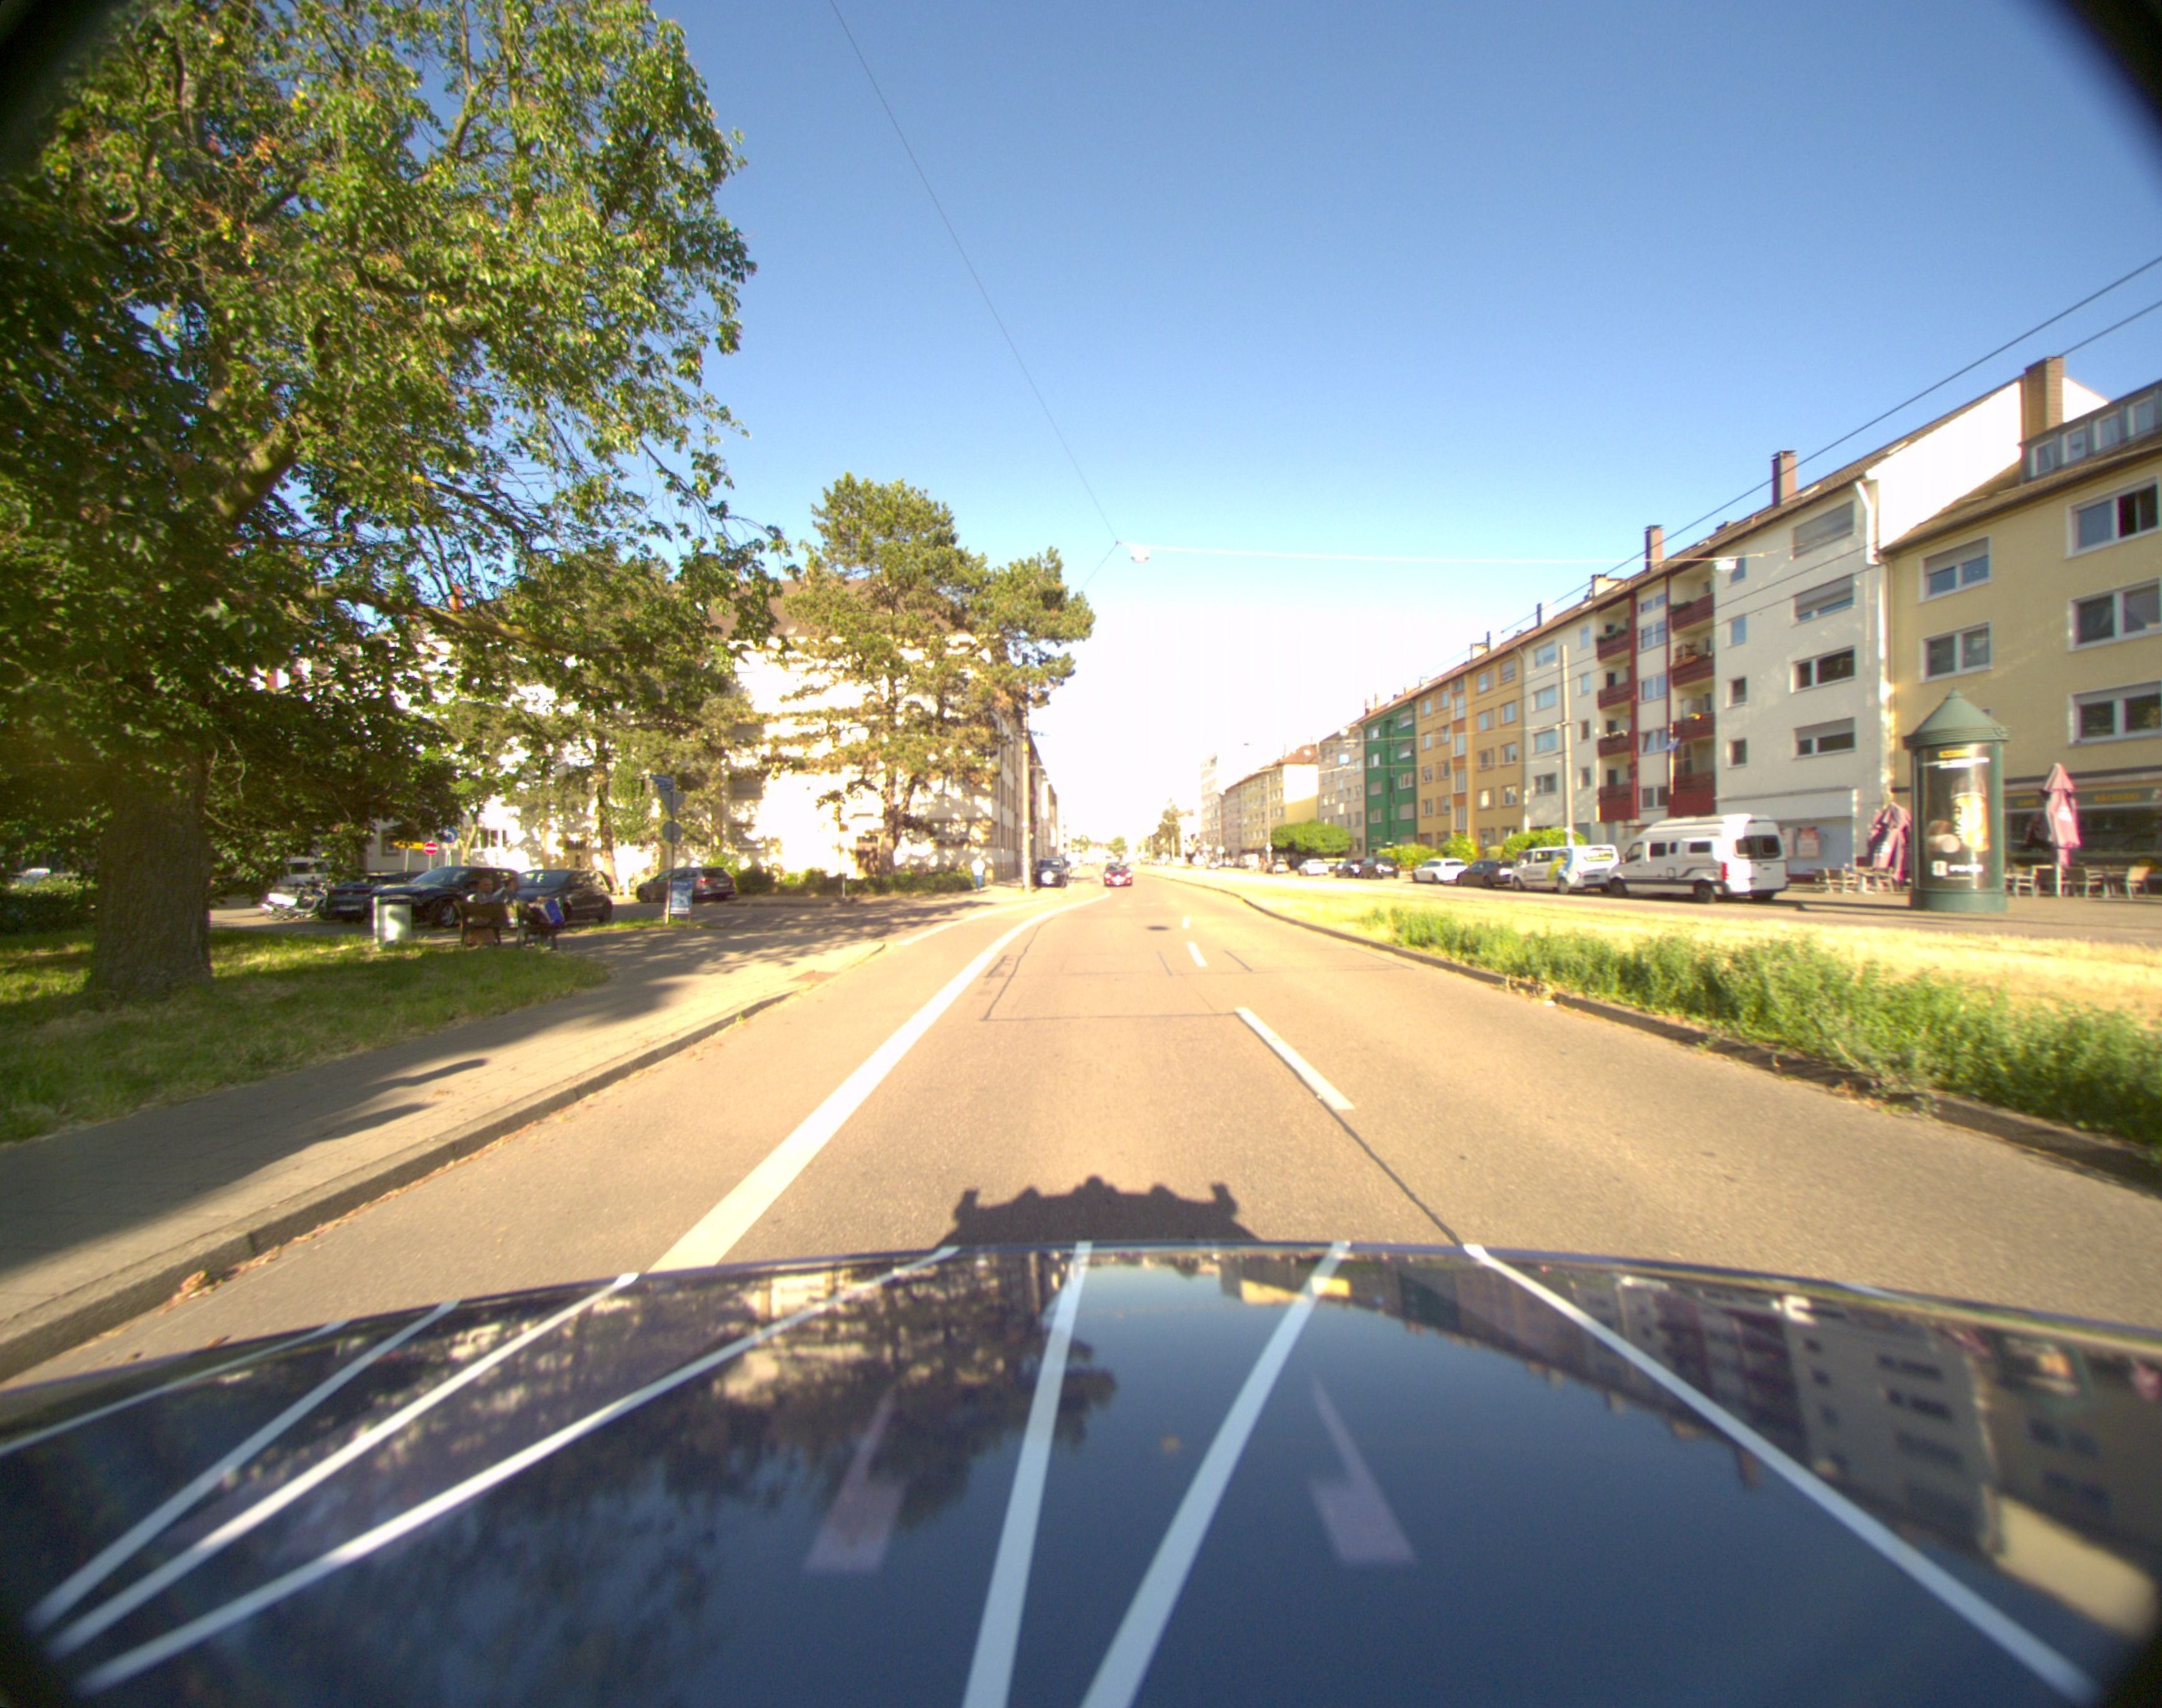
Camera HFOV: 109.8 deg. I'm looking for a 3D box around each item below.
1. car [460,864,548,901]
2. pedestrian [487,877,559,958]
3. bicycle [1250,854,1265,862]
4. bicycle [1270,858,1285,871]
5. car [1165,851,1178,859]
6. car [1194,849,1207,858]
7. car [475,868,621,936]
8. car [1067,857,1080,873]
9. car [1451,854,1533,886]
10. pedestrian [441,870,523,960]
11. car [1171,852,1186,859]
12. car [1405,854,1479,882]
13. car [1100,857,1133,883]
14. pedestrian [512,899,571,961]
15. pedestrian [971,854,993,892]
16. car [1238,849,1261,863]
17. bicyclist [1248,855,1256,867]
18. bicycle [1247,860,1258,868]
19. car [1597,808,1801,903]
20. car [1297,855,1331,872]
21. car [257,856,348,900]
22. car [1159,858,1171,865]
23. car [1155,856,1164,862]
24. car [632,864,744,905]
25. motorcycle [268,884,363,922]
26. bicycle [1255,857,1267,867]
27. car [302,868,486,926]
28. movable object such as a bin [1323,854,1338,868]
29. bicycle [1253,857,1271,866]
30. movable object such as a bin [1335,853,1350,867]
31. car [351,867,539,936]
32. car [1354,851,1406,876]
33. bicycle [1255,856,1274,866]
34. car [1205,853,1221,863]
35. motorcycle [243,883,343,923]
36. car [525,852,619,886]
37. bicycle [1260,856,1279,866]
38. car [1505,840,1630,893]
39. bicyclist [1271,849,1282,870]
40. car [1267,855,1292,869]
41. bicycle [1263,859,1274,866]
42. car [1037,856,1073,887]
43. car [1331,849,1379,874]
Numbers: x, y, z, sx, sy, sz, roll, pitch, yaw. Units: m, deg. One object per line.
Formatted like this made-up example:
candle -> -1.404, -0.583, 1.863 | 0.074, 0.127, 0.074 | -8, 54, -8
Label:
car -> -28.404, 1.400, 37.434 | 3.903, 1.701, 1.773 | -2, -1, 24
pedestrian -> -8.902, 0.996, 12.138 | 0.403, 1.219, 0.762 | -3, 0, 27
bicycle -> 26.595, 0.631, 114.309 | 2.103, 1.099, 0.472 | -3, 0, 1
bicycle -> 18.759, 0.987, 72.651 | 0.770, 1.139, 2.474 | 1, 0, 1
car -> 18.249, 0.266, 153.682 | 1.788, 1.519, 4.413 | 0, 0, -5
car -> 26.962, -0.056, 171.623 | 1.999, 1.887, 4.669 | -3, 0, -2
car -> -13.416, 1.135, 19.409 | 1.641, 1.485, 3.805 | 0, 0, -11
car -> -1.232, 1.855, 134.330 | 2.156, 2.680, 6.292 | 1, 0, 0
car -> 20.943, 0.797, 38.956 | 1.699, 1.506, 4.325 | -2, 0, -2
pedestrian -> -9.645, 0.969, 12.245 | 0.685, 1.365, 0.756 | -3, 0, 27
car -> 18.739, 0.360, 146.572 | 1.839, 1.377, 4.413 | 0, 0, -6
car -> 21.040, 0.779, 44.515 | 1.897, 1.483, 4.703 | -3, 0, -2
car -> 2.052, 0.931, 44.800 | 1.862, 1.461, 3.809 | 0, 0, 1
pedestrian -> -8.453, 1.183, 11.917 | 0.403, 0.928, 0.624 | -3, -2, 27
pedestrian -> -4.549, 0.877, 34.939 | 0.882, 1.712, 0.725 | 0, 0, 6
car -> 26.192, 0.289, 118.508 | 1.999, 1.938, 5.499 | -3, 0, -3
bicyclist -> 19.065, 0.797, 84.561 | 0.775, 1.376, 0.648 | -1, 0, 0
bicycle -> 19.083, 1.150, 84.601 | 0.770, 0.874, 2.069 | 1, 0, 1
car -> 20.962, 0.055, 26.300 | 2.037, 2.852, 6.228 | -2, 0, 1
car -> 21.327, 0.839, 69.619 | 1.733, 1.446, 4.376 | -2, 0, 1
car -> -48.334, 1.481, 47.167 | 5.306, 2.428, 2.129 | -3, 0, 23
car -> 18.485, 1.626, 167.558 | 1.862, 1.541, 4.240 | 1, 0, -2
car -> 18.325, 1.156, 177.474 | 1.617, 1.550, 4.000 | 1, 0, 0
car -> -16.362, 1.226, 31.634 | 4.294, 1.493, 1.772 | 0, 3, 24
motorcycle -> -22.115, 1.412, 21.992 | 1.785, 1.066, 0.713 | 2, -1, -16
bicycle -> 21.011, 0.948, 88.584 | 0.511, 1.086, 1.934 | -3, 0, -11
car -> -19.318, 1.150, 21.657 | 1.640, 1.432, 4.239 | 0, 0, -5
movable object such as a bin -> 25.632, 0.713, 77.956 | 1.149, 1.360, 1.039 | -3, 1, 3
bicycle -> 22.223, 0.922, 93.450 | 2.052, 1.086, 0.616 | -3, 0, 6
movable object such as a bin -> 26.873, 0.641, 77.969 | 1.149, 1.360, 1.039 | -3, 1, 3
car -> -16.145, 1.129, 19.563 | 1.455, 1.563, 3.810 | 0, 0, 4
car -> 21.170, 0.679, 54.049 | 1.998, 1.598, 4.151 | -3, 0, 0
bicycle -> 21.954, 0.828, 90.946 | 2.052, 1.086, 0.616 | -3, 0, 6
car -> 20.113, 0.656, 115.847 | 1.698, 1.439, 4.217 | 0, 0, 1
motorcycle -> -21.886, 1.363, 21.148 | 1.785, 1.066, 0.713 | 2, -1, -16
car -> -23.469, 0.661, 35.018 | 3.902, 1.461, 1.773 | 0, 0, 24
bicycle -> 22.248, 0.806, 89.574 | 2.050, 1.086, 0.616 | -3, 0, 27
car -> 21.044, 0.503, 33.201 | 2.037, 2.009, 5.371 | -3, 0, 1
bicyclist -> 18.741, 0.545, 72.951 | 0.775, 2.002, 0.648 | -3, 0, 1
car -> 21.564, 0.827, 82.651 | 1.640, 1.433, 3.733 | -3, 0, -2
bicycle -> 21.836, 0.990, 88.683 | 0.377, 0.860, 2.053 | -3, 0, -11
car -> -1.513, 0.999, 46.174 | 1.883, 1.707, 4.934 | 2, 0, 1
car -> 21.259, 0.563, 59.123 | 1.998, 1.827, 4.609 | -3, 0, 0
